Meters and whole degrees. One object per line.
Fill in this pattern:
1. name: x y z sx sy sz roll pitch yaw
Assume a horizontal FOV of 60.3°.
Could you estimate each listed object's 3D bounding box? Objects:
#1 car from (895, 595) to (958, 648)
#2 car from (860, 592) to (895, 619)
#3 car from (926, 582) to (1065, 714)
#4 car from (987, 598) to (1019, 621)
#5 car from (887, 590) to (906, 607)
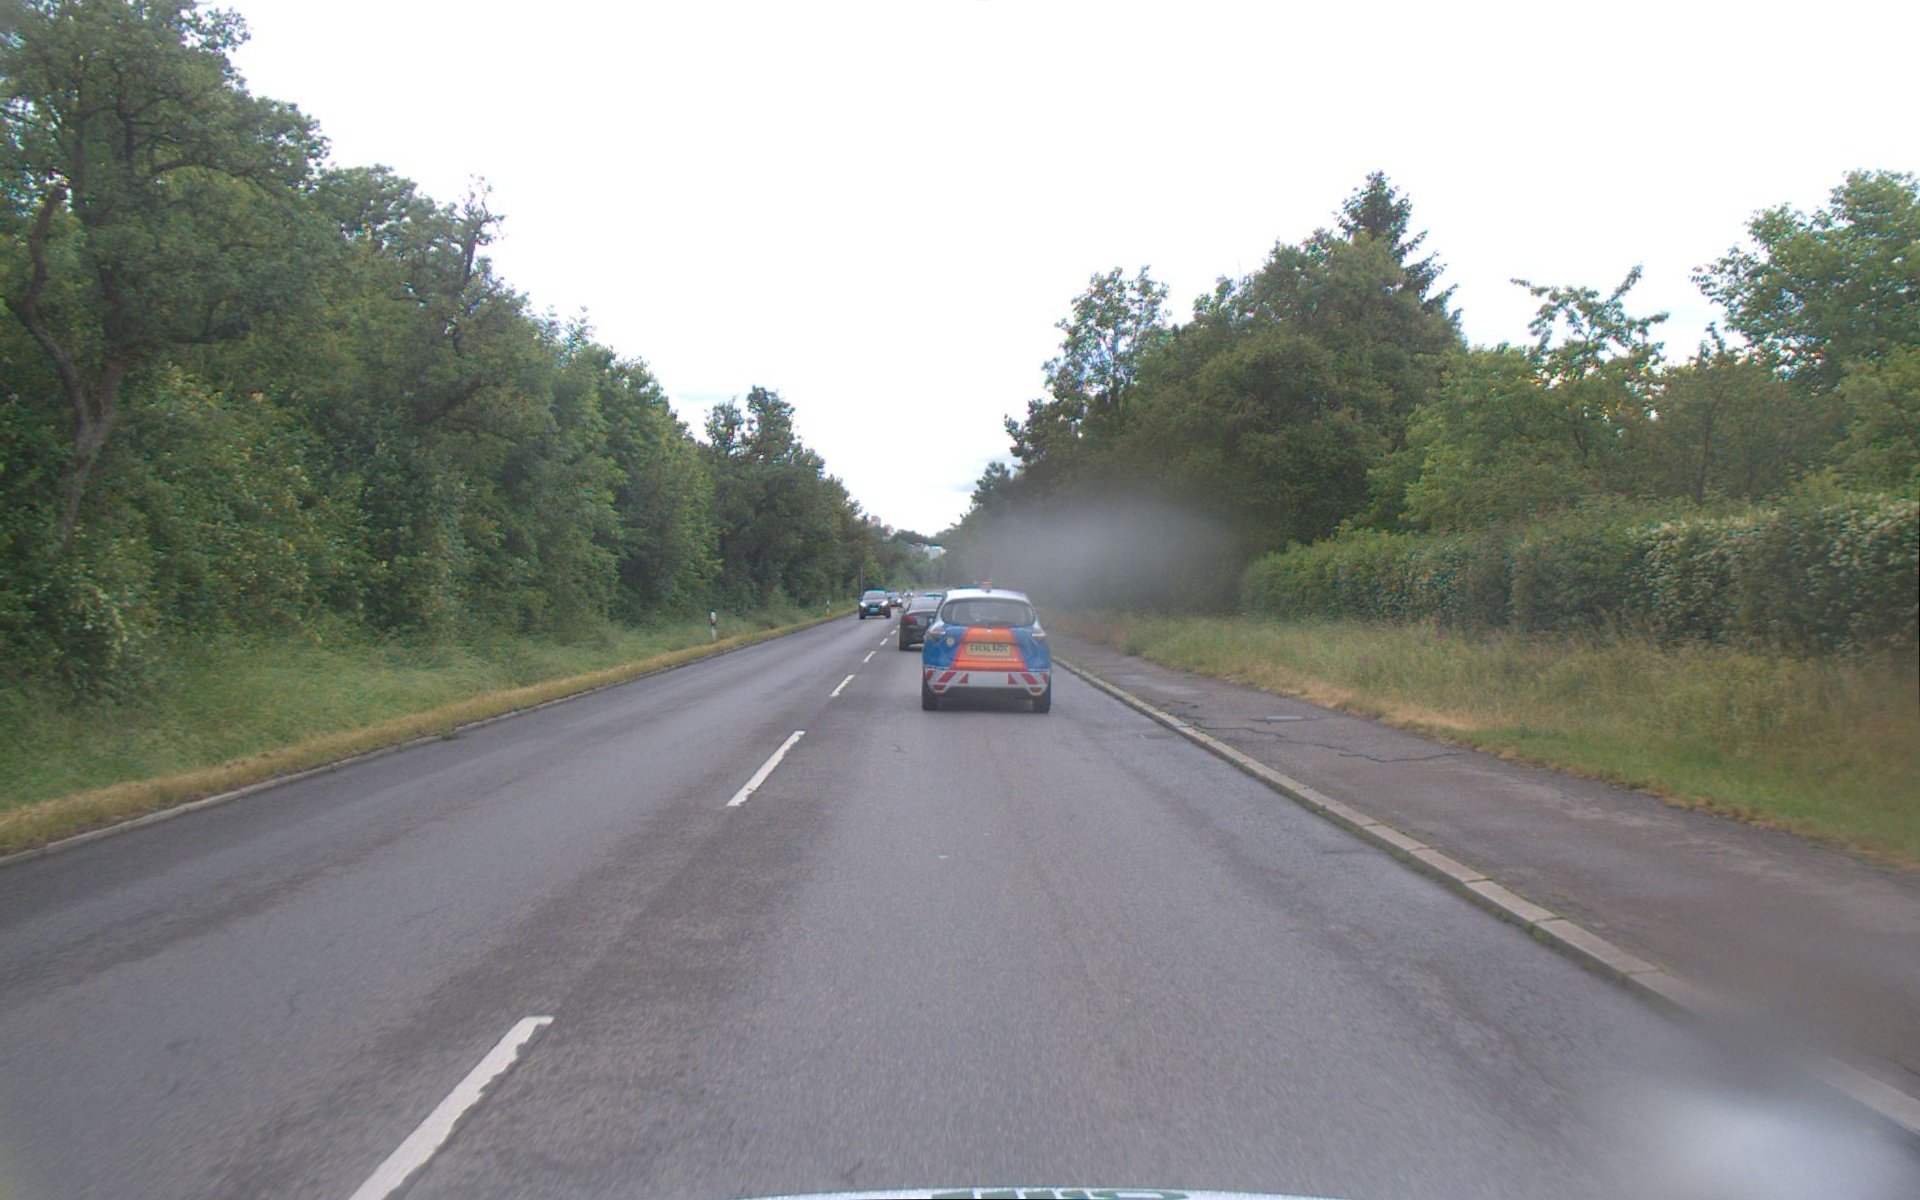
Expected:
1. car: -0.855 0.546 43.670 1.566 1.309 3.476 -1 0 0
2. car: -4.901 0.306 98.750 1.866 1.584 4.515 -1 0 0
3. car: 0.407 0.581 22.563 1.716 1.582 3.792 1 1 -1
4. car: 2.797 0.619 107.789 1.953 1.400 4.000 -1 0 0
5. car: -5.822 -0.146 152.283 1.676 1.423 4.149 -3 0 -2
